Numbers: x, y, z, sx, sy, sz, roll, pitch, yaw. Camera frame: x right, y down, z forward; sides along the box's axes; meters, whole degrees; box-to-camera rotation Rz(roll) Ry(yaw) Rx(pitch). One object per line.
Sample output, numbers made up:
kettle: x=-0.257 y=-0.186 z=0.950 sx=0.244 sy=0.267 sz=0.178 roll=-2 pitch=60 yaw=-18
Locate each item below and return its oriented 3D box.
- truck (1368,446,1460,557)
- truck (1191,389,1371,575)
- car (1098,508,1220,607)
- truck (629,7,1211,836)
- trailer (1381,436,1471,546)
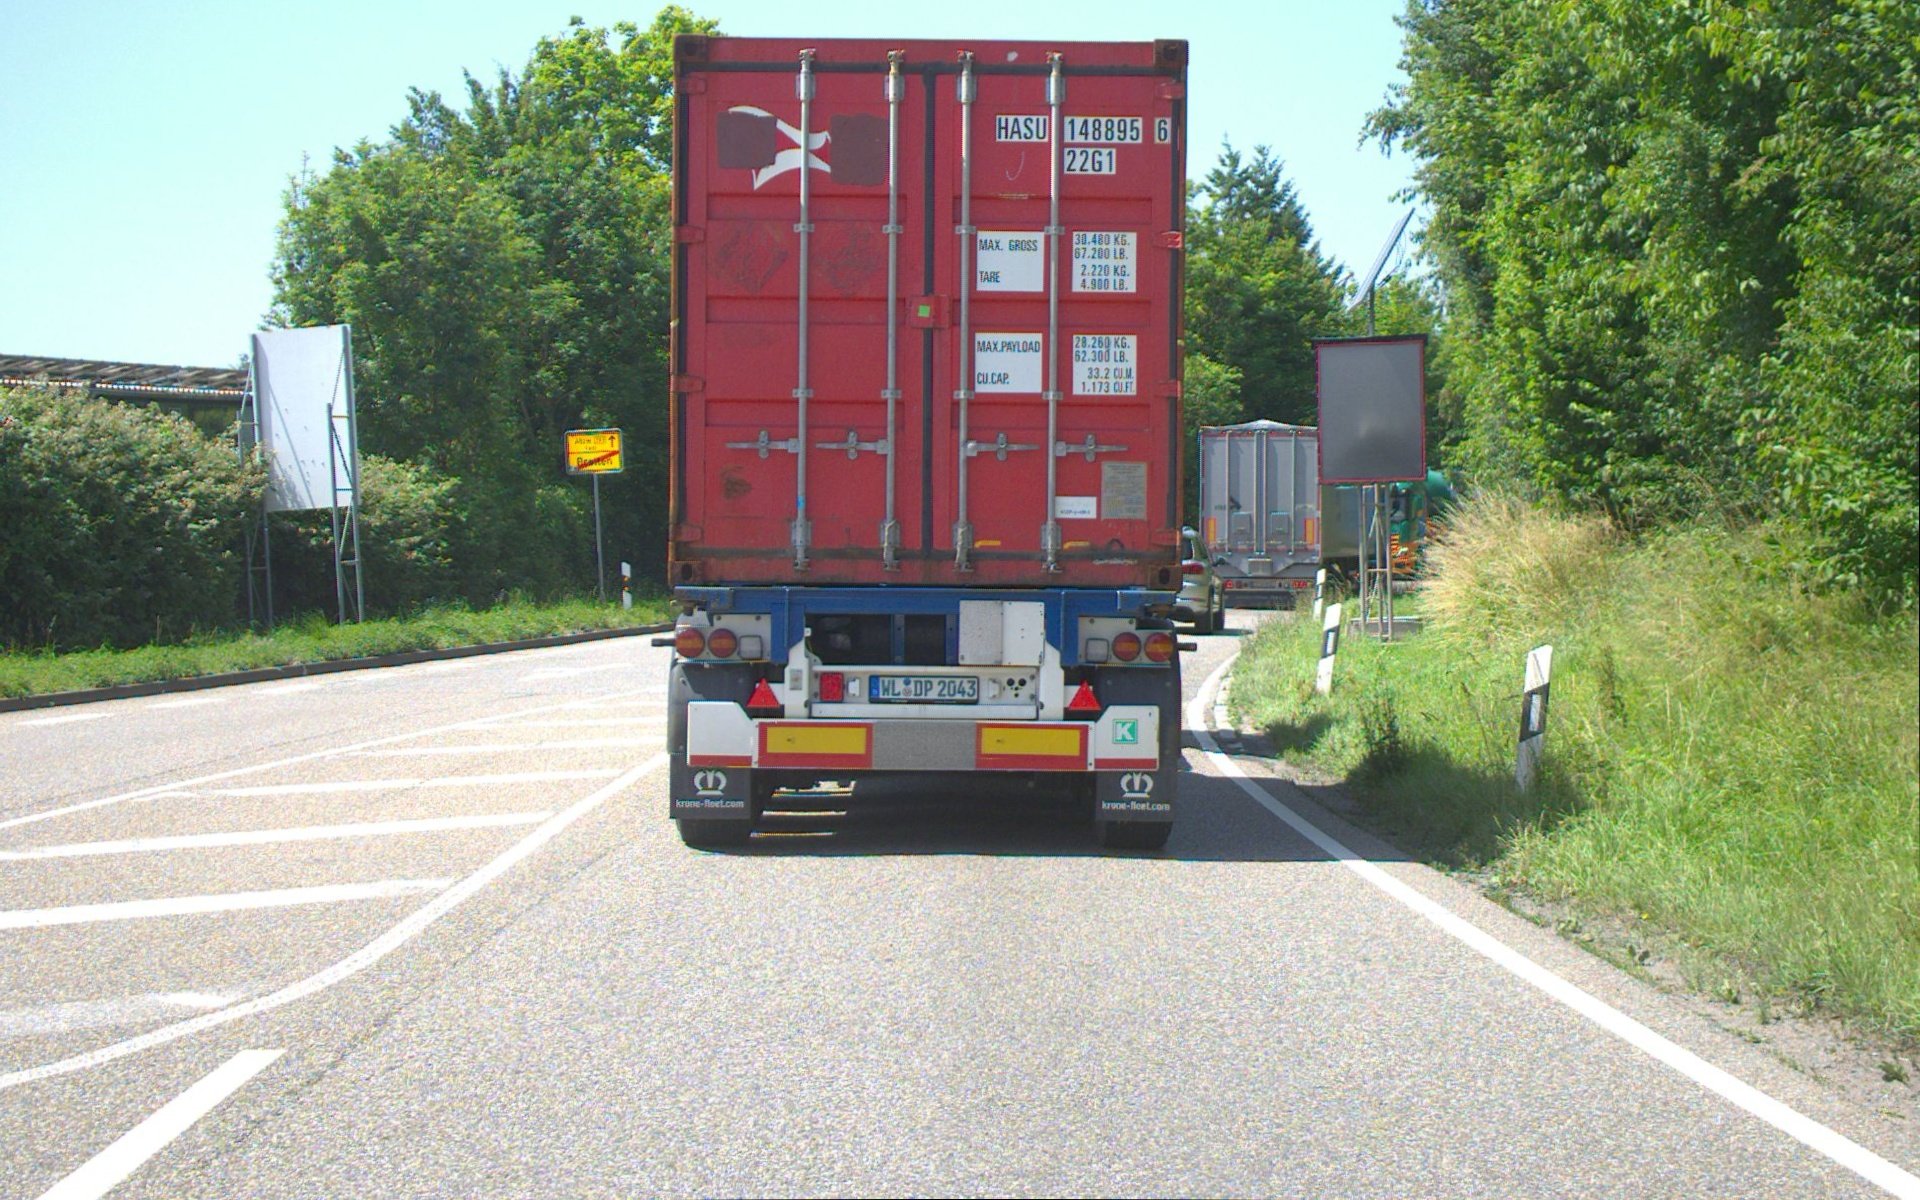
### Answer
truck: x=15.685 y=-3.382 z=118.380 sx=2.580 sy=3.667 sz=7.872 roll=1 pitch=2 yaw=12
truck: x=7.409 y=-2.660 z=77.577 sx=2.923 sy=3.704 sz=13.355 roll=-2 pitch=2 yaw=10
car: x=3.194 y=-0.713 z=55.054 sx=1.832 sy=1.428 sz=4.000 roll=-2 pitch=2 yaw=4
truck: x=-0.293 y=-0.965 z=22.552 sx=2.647 sy=3.793 sz=13.361 roll=1 pitch=1 yaw=-1
trailer: x=16.845 y=-3.914 z=123.858 sx=2.579 sy=3.806 sz=8.911 roll=1 pitch=2 yaw=12
